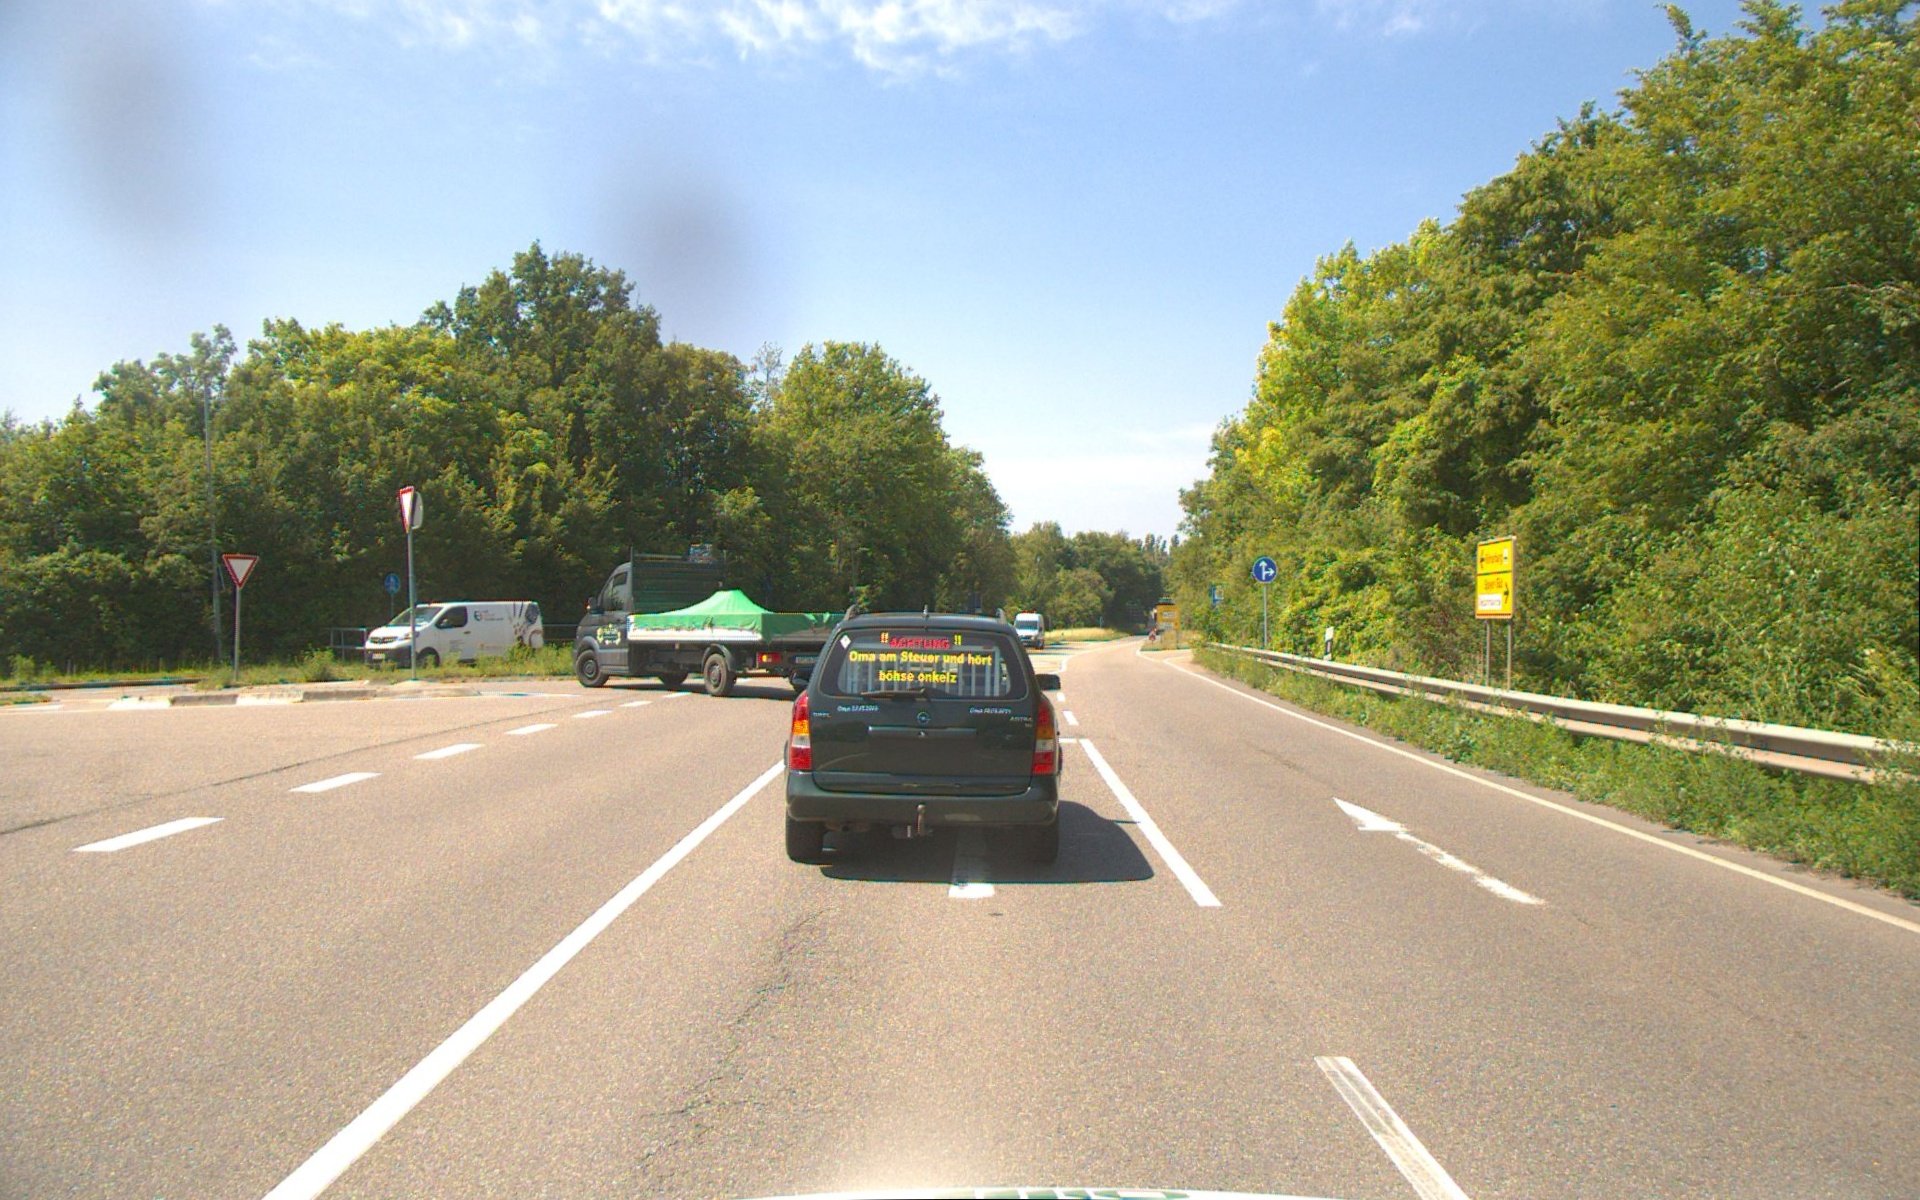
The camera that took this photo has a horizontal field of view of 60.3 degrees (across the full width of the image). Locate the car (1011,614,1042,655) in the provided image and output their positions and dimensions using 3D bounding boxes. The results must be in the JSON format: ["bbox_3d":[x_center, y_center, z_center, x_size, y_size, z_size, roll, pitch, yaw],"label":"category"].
[{"bbox_3d":[4.890,2.485,121.116,2.061,2.900,6.014,1,-1,3],"label":"car"}]

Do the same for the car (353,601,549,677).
[{"bbox_3d":[-13.894,1.017,45.448,1.973,1.957,5.183,0,0,30],"label":"car"}]

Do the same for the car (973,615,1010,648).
[{"bbox_3d":[1.480,1.435,76.430,1.610,1.443,3.767,1,-1,2],"label":"car"}]

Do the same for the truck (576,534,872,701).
[{"bbox_3d":[-4.314,0.268,29.061,2.124,2.610,6.546,1,0,-39],"label":"truck"}]

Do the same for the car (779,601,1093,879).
[{"bbox_3d":[-0.121,0.759,10.875,1.685,1.482,3.797,1,0,0],"label":"car"}]
